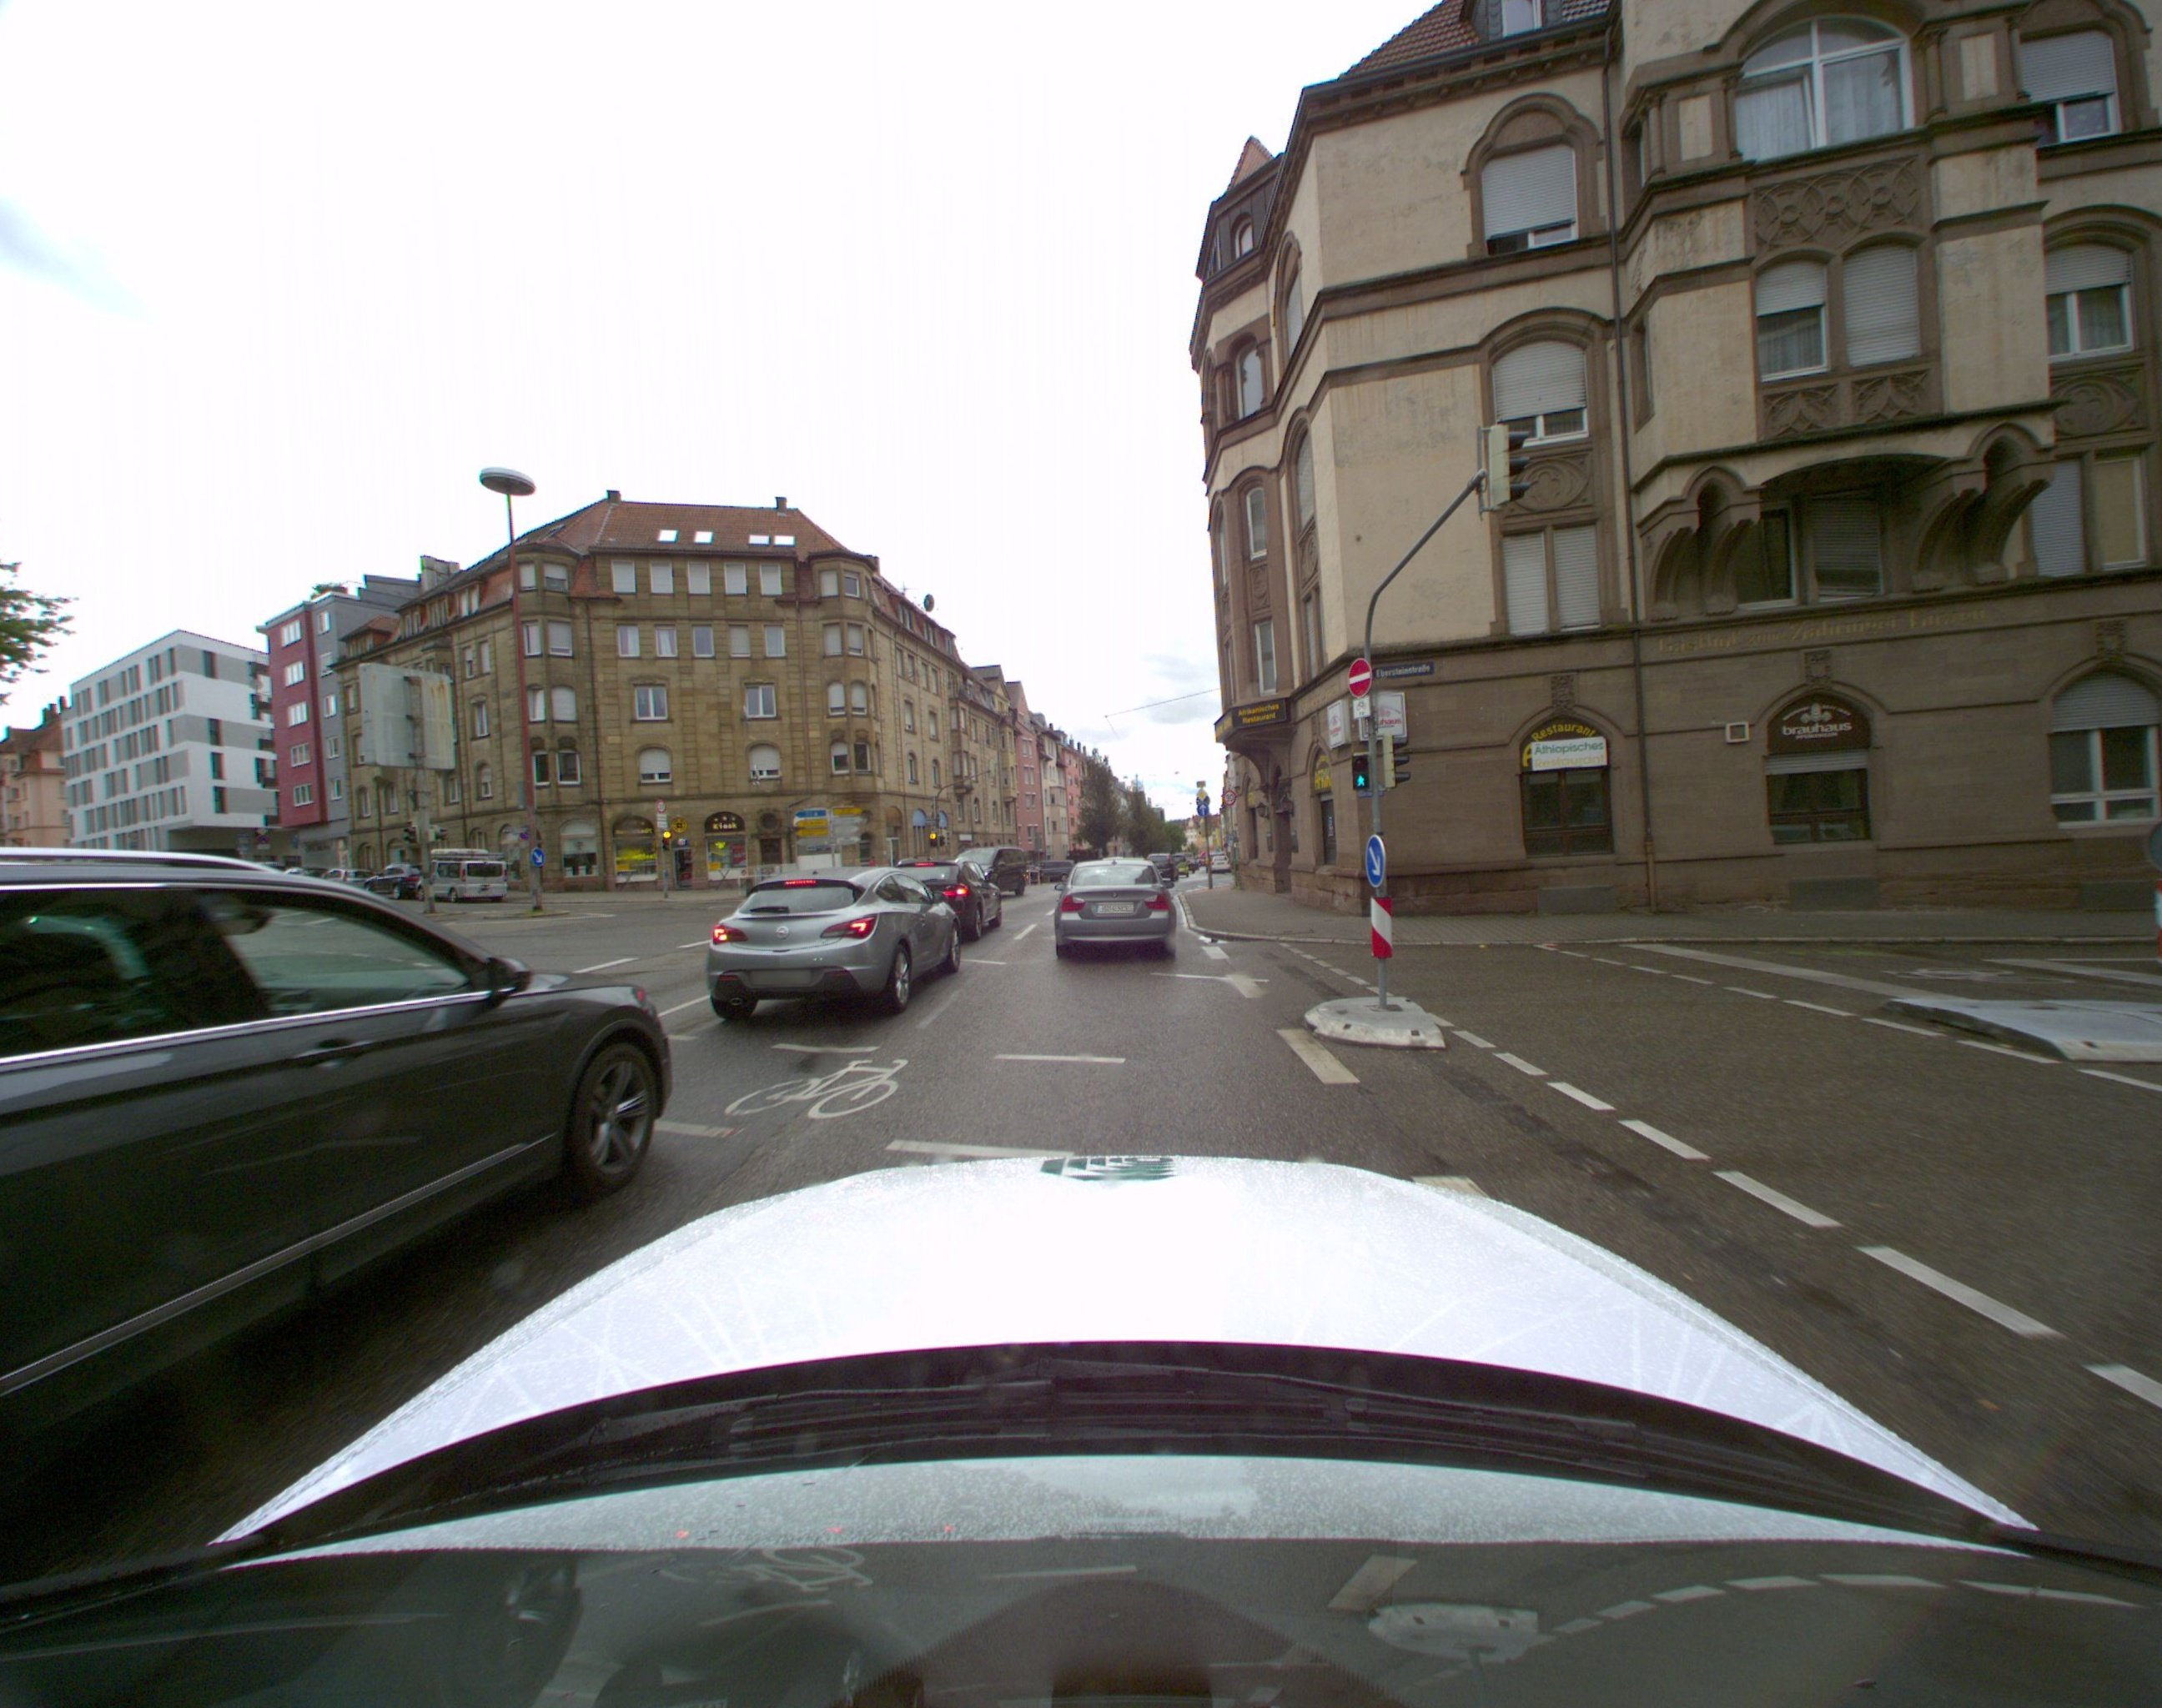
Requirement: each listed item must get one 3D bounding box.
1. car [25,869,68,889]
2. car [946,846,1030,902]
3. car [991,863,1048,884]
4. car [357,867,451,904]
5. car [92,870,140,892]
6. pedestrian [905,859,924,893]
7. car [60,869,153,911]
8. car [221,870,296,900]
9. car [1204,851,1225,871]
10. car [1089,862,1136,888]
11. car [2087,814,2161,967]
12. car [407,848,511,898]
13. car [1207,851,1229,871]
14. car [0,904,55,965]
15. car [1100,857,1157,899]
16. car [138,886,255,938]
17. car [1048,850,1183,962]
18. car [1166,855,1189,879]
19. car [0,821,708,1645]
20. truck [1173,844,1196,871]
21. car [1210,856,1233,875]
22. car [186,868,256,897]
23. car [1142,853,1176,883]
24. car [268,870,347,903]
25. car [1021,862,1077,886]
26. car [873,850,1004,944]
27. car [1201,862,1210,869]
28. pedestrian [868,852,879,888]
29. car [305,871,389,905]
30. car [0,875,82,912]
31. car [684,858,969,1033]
[{"bbox_3d":[-95.145,2.306,74.916,4.162,1.704,1.708,-2,-1,28],"label":"car"},{"bbox_3d":[-3.383,0.701,30.397,1.730,1.846,4.161,-4,-1,13],"label":"car"},{"bbox_3d":[-4.929,1.552,65.273,4.123,1.510,1.878,-3,-1,9],"label":"car"},{"bbox_3d":[-33.066,1.549,39.758,4.326,1.704,2.012,-2,-1,28],"label":"car"},{"bbox_3d":[-79.088,2.226,66.748,4.162,1.704,1.708,-2,-1,28],"label":"car"},{"bbox_3d":[-8.428,1.091,41.331,0.829,1.702,0.634,-1,-1,-21],"label":"pedestrian"},{"bbox_3d":[-40.242,1.469,33.619,4.247,1.537,1.749,-2,1,31],"label":"car"},{"bbox_3d":[-49.141,1.850,48.667,4.162,1.704,2.012,-2,-1,28],"label":"car"},{"bbox_3d":[13.304,0.708,81.262,1.908,1.827,5.021,-5,-2,9],"label":"car"},{"bbox_3d":[2.047,1.326,51.691,1.610,1.518,3.892,-2,0,23],"label":"car"},{"bbox_3d":[12.803,0.295,7.295,4.525,1.510,1.849,-2,-2,15],"label":"car"},{"bbox_3d":[-28.787,0.880,37.670,4.743,2.168,2.012,-2,-1,28],"label":"car"},{"bbox_3d":[12.630,0.670,75.093,1.868,1.731,4.688,-2,-1,9],"label":"car"},{"bbox_3d":[-29.684,2.163,21.968,4.336,1.491,1.926,-2,-1,31],"label":"car"},{"bbox_3d":[1.838,0.884,30.501,1.671,1.428,3.751,-2,-1,10],"label":"car"},{"bbox_3d":[-29.265,1.868,26.931,3.972,1.491,1.778,-2,1,31],"label":"car"},{"bbox_3d":[0.481,0.727,12.718,1.763,1.428,3.740,-2,-1,0],"label":"car"},{"bbox_3d":[6.497,0.885,55.247,1.442,1.566,3.337,-2,-2,5],"label":"car"},{"bbox_3d":[-3.044,0.770,2.526,1.746,1.644,4.213,-2,1,0],"label":"car"},{"bbox_3d":[9.949,0.357,77.776,2.020,2.413,4.838,-2,-2,8],"label":"truck"},{"bbox_3d":[11.972,0.992,69.743,1.789,1.565,4.502,-2,-1,8],"label":"car"},{"bbox_3d":[-54.331,1.793,51.452,4.162,1.704,2.012,-2,-1,28],"label":"car"},{"bbox_3d":[4.193,0.744,43.570,1.689,1.483,3.799,-2,-2,5],"label":"car"},{"bbox_3d":[-43.518,1.837,45.803,4.162,1.704,2.012,-2,-1,28],"label":"car"},{"bbox_3d":[-2.741,1.721,70.290,4.660,1.939,1.862,-1,-1,-1],"label":"car"},{"bbox_3d":[-2.635,0.787,15.971,1.746,1.535,4.214,-2,-2,0],"label":"car"},{"bbox_3d":[29.499,2.675,193.117,1.868,1.731,4.451,-2,-1,9],"label":"car"},{"bbox_3d":[-10.441,0.785,40.977,0.523,1.774,0.690,-1,-1,-16],"label":"pedestrian"},{"bbox_3d":[-39.296,1.833,43.581,4.162,1.704,2.012,-2,-1,28],"label":"car"},{"bbox_3d":[-46.642,1.778,36.509,4.101,1.538,1.749,-2,-2,31],"label":"car"},{"bbox_3d":[-2.561,0.828,9.359,1.745,1.483,4.183,-2,0,2],"label":"car"}]
